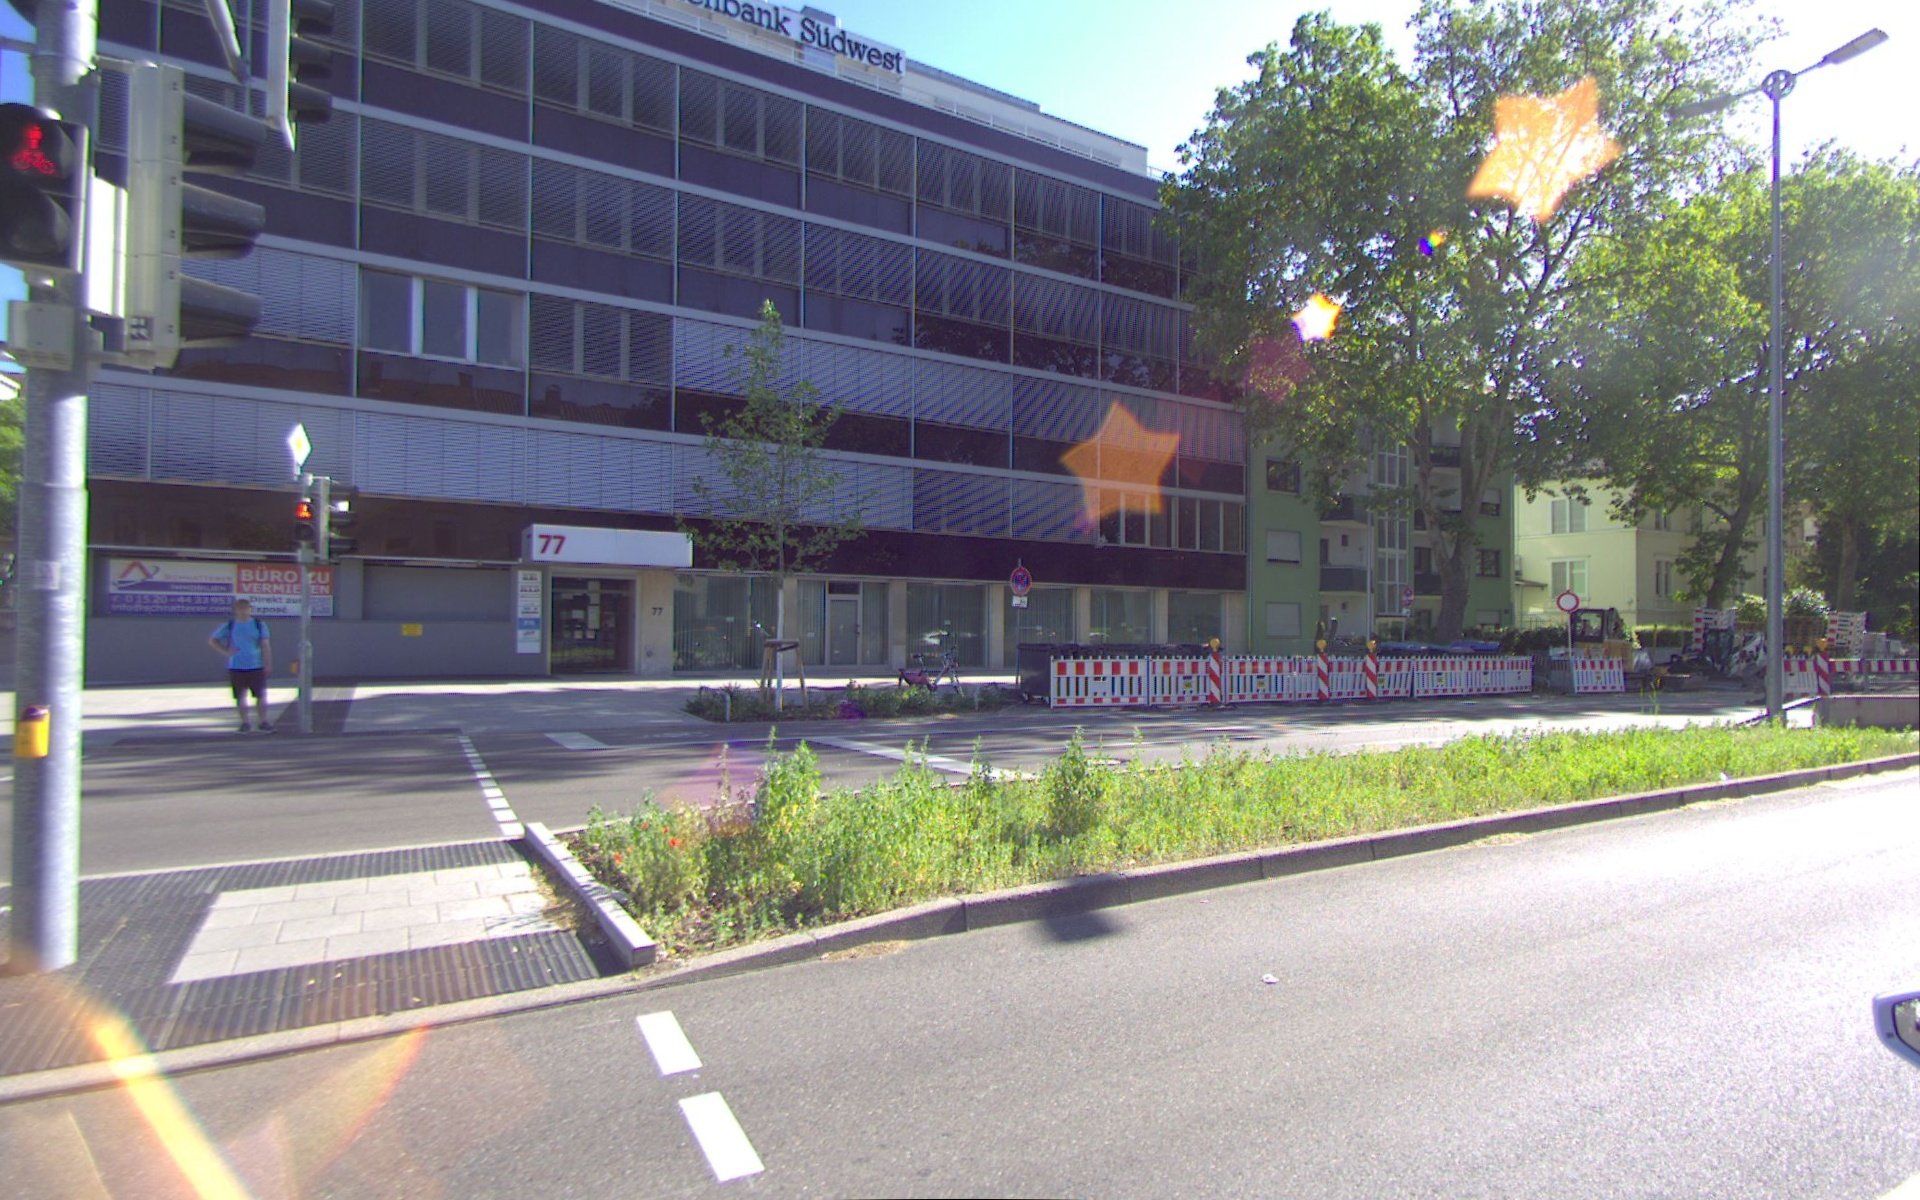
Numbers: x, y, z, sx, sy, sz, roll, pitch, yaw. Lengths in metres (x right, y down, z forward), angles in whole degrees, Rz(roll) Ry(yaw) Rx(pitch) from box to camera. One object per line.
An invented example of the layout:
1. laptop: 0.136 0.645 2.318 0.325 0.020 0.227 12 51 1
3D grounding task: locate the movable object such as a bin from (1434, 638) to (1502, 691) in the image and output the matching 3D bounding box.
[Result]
1. movable object such as a bin: 14.534 1.817 28.744 1.608 1.441 1.259 0 -1 34

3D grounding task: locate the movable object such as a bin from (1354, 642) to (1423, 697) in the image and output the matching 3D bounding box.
1. movable object such as a bin: 11.199 1.788 26.296 0.924 1.355 1.404 1 -1 -28

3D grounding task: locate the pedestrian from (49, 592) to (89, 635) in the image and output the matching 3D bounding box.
1. pedestrian: -43.028 0.649 48.517 1.137 2.040 1.443 1 -1 -31

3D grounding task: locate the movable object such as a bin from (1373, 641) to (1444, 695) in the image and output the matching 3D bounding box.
1. movable object such as a bin: 12.018 1.795 26.922 1.055 1.355 1.404 1 -1 -28

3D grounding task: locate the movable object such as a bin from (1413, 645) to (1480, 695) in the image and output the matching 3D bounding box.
1. movable object such as a bin: 13.245 1.884 27.365 1.523 1.287 0.975 1 -1 -31

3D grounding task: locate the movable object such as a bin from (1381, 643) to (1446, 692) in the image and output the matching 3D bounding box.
1. movable object such as a bin: 12.747 1.878 28.247 1.523 1.287 0.975 1 -1 -31

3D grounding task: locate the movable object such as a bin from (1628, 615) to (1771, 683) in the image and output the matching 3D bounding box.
1. movable object such as a bin: 26.721 1.776 36.256 5.529 2.308 1.986 2 -2 -28

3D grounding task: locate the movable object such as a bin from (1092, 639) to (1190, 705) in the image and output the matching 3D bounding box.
1. movable object such as a bin: 4.080 1.595 22.637 1.833 1.406 1.209 1 -1 -29

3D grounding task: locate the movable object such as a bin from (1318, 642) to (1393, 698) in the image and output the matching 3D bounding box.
1. movable object such as a bin: 10.185 1.778 25.907 1.142 1.355 1.404 1 -1 -28

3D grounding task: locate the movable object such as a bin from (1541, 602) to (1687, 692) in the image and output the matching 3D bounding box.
1. movable object such as a bin: 21.544 1.520 33.008 5.299 2.742 2.133 2 -1 -34

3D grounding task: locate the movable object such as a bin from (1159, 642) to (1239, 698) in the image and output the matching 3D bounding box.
1. movable object such as a bin: 5.571 1.613 23.492 1.225 1.219 1.389 1 -1 -27

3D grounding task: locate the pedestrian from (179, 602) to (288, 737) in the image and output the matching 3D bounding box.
1. pedestrian: -9.779 0.913 13.571 0.998 1.733 0.863 1 -1 -23

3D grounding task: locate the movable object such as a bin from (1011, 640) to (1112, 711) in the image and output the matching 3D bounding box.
1. movable object such as a bin: 2.150 1.576 21.362 1.833 1.406 1.109 1 -1 -29

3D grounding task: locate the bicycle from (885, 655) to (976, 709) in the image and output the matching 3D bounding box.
1. bicycle: -0.610 1.705 21.142 1.857 1.051 0.624 1 -1 -30
